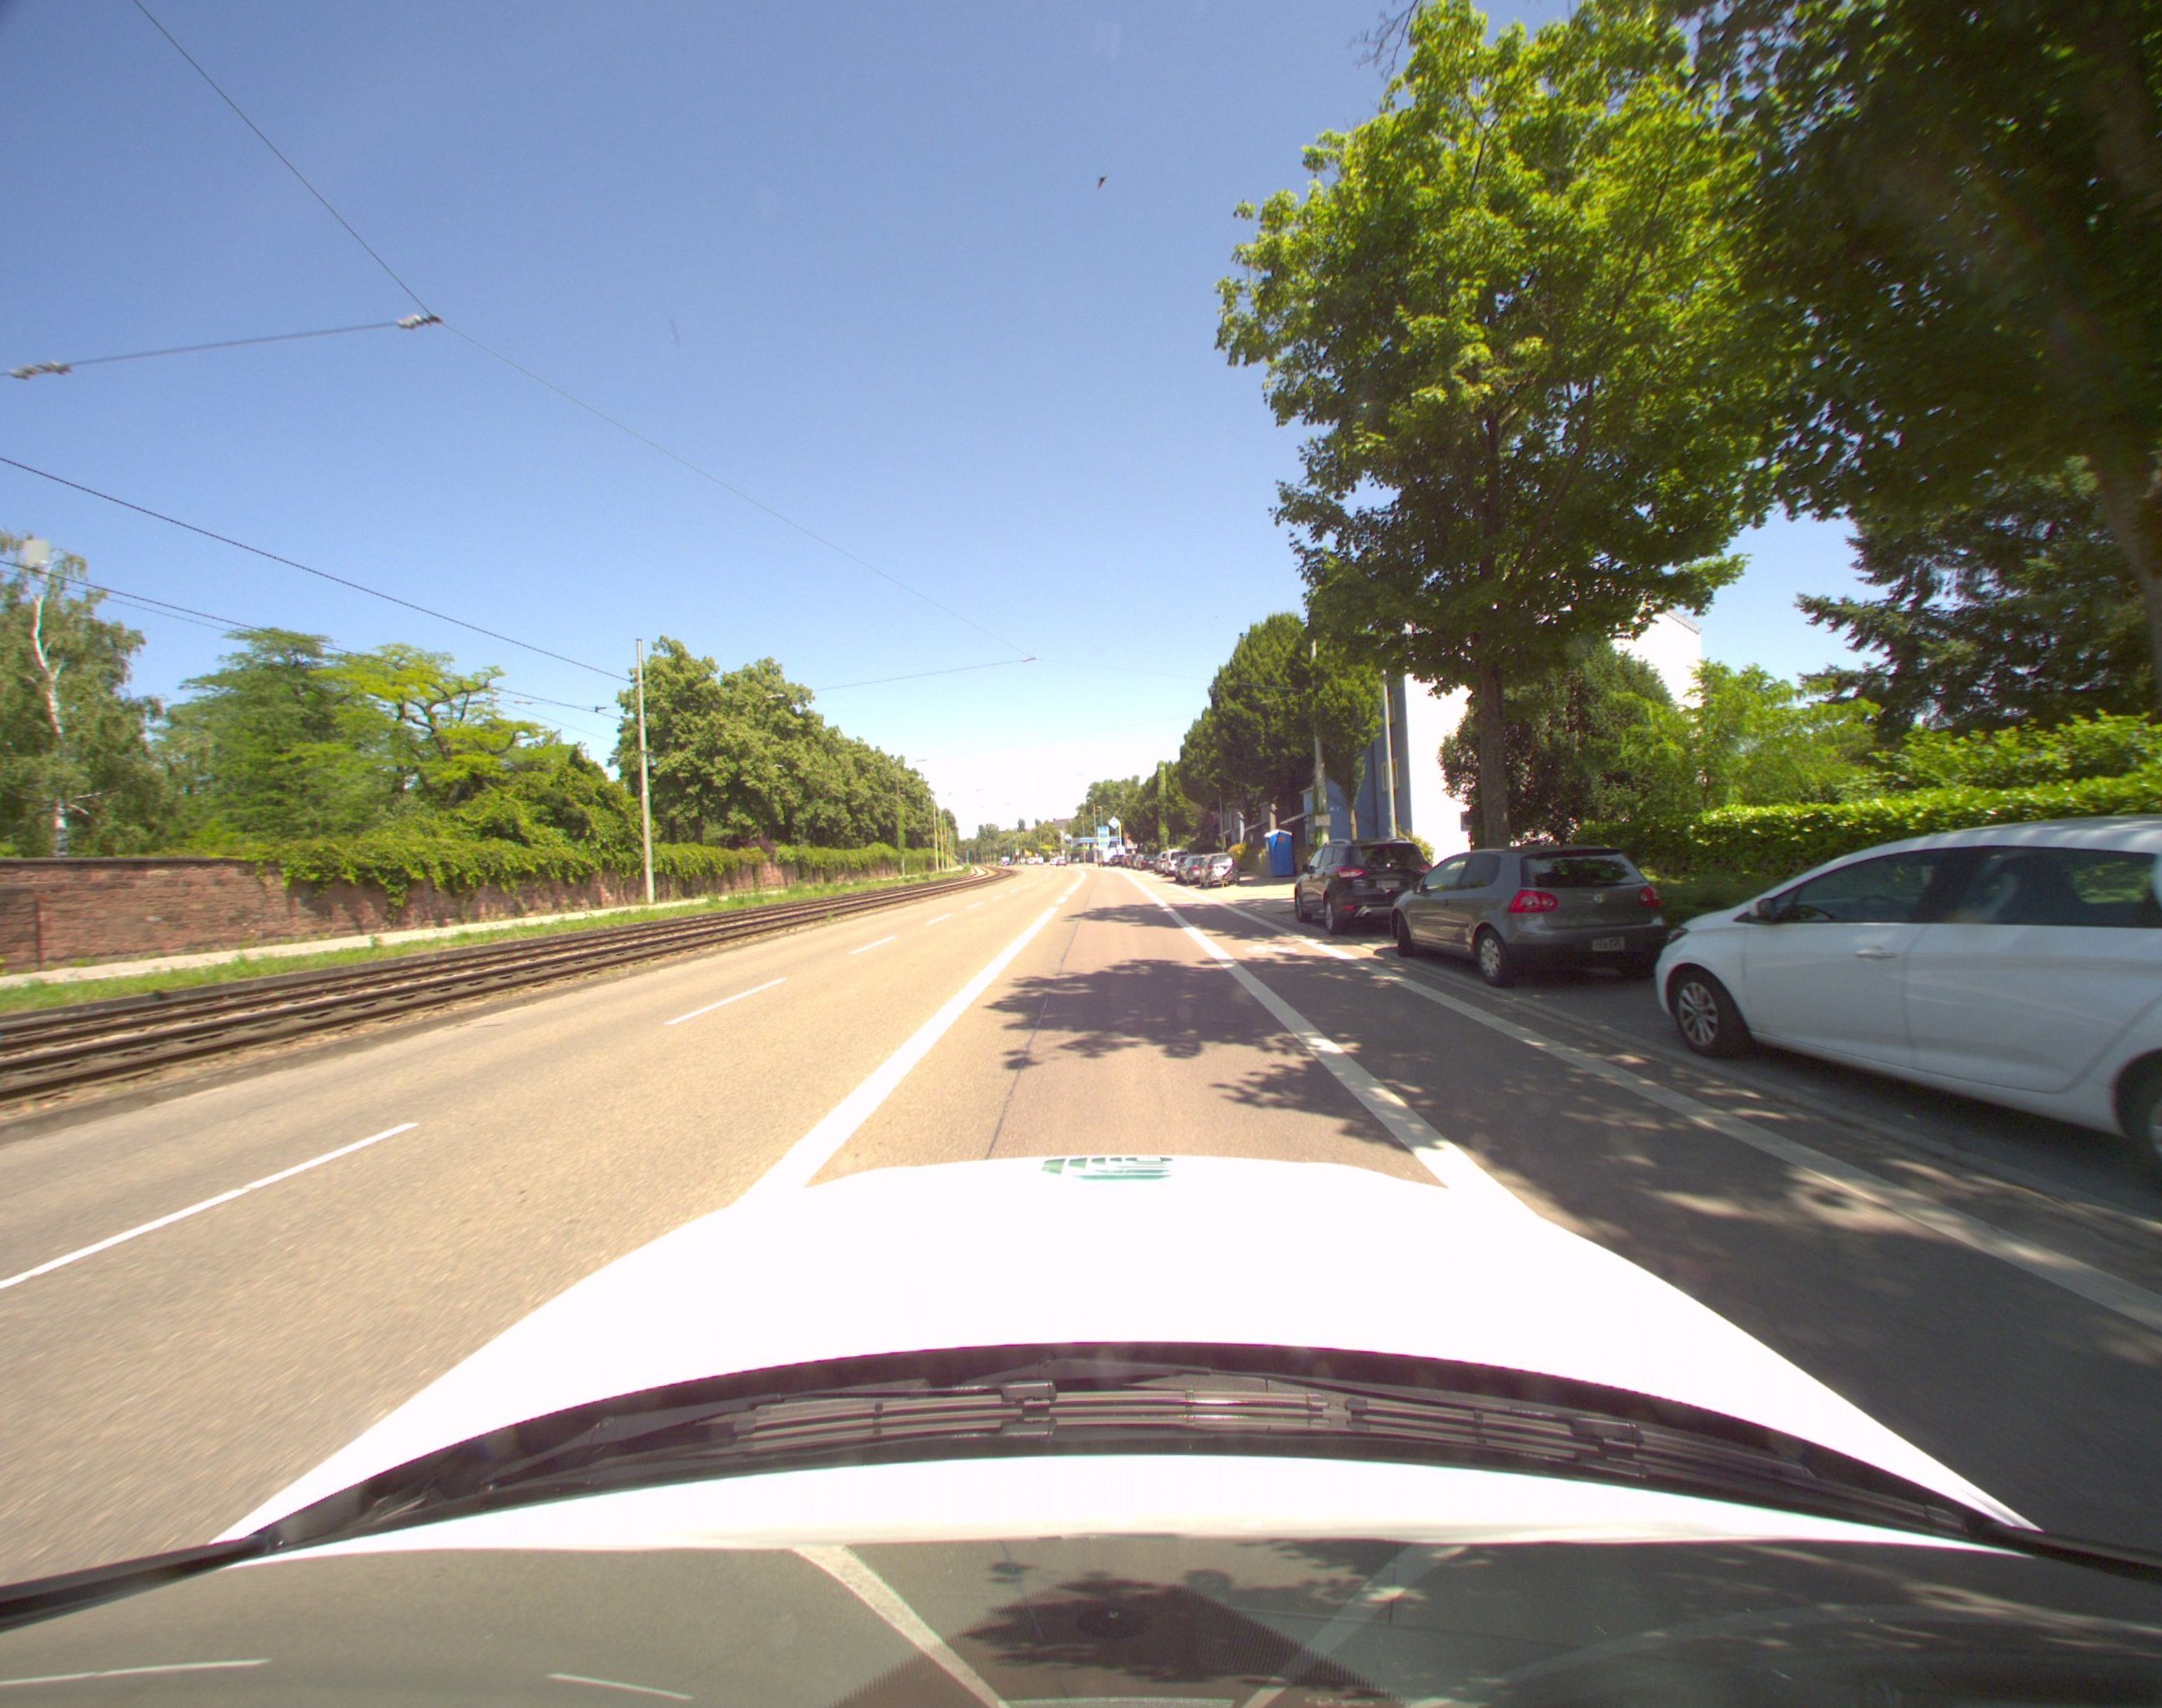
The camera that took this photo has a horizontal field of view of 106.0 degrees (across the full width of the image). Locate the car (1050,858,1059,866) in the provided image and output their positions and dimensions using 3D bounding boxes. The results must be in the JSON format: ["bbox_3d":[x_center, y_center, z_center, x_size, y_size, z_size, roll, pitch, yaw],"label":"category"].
[{"bbox_3d":[-6.064,1.835,188.108,1.753,1.630,4.315,-5,0,-6],"label":"car"}]

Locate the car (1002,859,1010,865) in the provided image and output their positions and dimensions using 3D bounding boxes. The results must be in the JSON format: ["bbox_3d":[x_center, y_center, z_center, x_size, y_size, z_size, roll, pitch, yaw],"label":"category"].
[{"bbox_3d":[-20.016,2.062,217.056,1.754,1.509,4.313,-5,0,-7],"label":"car"}]

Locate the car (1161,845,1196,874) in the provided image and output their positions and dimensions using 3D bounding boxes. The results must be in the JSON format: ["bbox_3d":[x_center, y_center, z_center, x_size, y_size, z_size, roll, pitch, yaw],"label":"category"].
[{"bbox_3d":[6.882,0.354,57.775,1.835,1.793,4.354,-5,0,0],"label":"car"}]

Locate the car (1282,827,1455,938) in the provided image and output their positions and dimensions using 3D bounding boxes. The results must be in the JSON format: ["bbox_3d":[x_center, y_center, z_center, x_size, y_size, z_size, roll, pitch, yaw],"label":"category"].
[{"bbox_3d":[5.361,0.453,15.876,1.833,1.706,4.630,-5,0,3],"label":"car"}]

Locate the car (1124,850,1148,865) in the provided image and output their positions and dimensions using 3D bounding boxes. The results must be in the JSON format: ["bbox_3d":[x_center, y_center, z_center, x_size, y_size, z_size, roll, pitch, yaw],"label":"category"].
[{"bbox_3d":[6.186,0.419,92.032,1.706,1.562,4.312,-5,0,-7],"label":"car"}]

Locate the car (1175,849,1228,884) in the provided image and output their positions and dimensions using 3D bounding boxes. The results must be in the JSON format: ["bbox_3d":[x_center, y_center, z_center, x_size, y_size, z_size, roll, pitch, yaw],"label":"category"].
[{"bbox_3d":[6.258,0.610,42.800,1.835,1.529,4.964,-5,0,-1],"label":"car"}]

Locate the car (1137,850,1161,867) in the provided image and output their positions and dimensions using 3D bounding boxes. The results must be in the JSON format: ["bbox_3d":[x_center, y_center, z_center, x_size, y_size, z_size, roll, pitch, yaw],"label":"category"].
[{"bbox_3d":[6.692,0.473,80.834,1.703,1.492,5.034,-5,0,-2],"label":"car"}]

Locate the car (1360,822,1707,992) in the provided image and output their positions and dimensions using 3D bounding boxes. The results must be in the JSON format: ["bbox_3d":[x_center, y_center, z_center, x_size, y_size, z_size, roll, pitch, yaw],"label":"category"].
[{"bbox_3d":[5.259,0.520,10.281,1.835,1.529,4.352,-5,0,0],"label":"car"}]

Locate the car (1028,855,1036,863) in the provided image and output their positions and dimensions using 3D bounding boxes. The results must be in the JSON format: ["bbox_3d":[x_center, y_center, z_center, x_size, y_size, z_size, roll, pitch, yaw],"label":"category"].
[{"bbox_3d":[-13.327,1.390,219.575,1.754,1.874,4.313,-5,0,-7],"label":"car"}]

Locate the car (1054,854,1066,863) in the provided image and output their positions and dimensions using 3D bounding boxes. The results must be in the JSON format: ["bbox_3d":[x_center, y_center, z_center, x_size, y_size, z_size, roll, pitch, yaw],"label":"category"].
[{"bbox_3d":[-4.084,0.874,155.735,1.754,1.630,4.313,-5,0,-7],"label":"car"}]

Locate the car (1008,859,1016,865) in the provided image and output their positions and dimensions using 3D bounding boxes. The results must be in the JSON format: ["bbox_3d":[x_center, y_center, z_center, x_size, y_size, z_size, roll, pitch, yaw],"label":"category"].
[{"bbox_3d":[-19.859,2.367,234.344,1.754,1.630,4.313,-5,0,-7],"label":"car"}]

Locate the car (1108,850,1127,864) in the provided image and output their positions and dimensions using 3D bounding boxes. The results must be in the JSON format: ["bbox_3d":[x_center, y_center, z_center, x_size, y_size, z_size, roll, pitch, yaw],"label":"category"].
[{"bbox_3d":[4.800,0.447,107.962,1.754,1.630,4.313,-5,0,-7],"label":"car"}]

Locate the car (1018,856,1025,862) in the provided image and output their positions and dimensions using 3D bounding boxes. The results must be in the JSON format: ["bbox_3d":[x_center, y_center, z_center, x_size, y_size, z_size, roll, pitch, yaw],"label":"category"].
[{"bbox_3d":[-16.350,1.391,223.857,1.753,1.630,4.315,-5,0,-6],"label":"car"}]

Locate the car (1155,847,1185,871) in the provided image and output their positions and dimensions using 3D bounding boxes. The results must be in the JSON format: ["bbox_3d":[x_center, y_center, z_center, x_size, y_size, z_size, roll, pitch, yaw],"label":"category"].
[{"bbox_3d":[6.942,0.358,63.962,1.833,1.694,4.781,-5,0,2],"label":"car"}]

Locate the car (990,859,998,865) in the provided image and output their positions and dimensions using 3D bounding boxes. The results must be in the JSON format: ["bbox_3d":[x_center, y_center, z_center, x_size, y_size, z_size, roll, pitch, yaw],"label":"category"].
[{"bbox_3d":[-25.551,2.401,238.251,1.757,1.630,4.305,-5,0,-12],"label":"car"}]

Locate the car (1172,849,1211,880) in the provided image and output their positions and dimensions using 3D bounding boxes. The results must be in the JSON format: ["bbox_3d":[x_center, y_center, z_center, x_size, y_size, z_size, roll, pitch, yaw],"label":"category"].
[{"bbox_3d":[6.433,0.573,47.836,1.833,1.529,4.220,-5,0,4],"label":"car"}]

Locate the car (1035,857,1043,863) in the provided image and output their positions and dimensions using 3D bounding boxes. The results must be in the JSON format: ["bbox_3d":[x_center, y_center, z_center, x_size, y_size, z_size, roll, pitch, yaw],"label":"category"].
[{"bbox_3d":[-11.726,1.750,227.850,1.754,1.630,4.313,-5,0,-7],"label":"car"}]

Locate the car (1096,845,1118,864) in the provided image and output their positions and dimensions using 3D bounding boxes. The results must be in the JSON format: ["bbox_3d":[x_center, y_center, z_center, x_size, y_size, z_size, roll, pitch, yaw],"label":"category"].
[{"bbox_3d":[3.748,0.132,118.108,2.000,2.456,6.092,-5,0,-8],"label":"car"}]

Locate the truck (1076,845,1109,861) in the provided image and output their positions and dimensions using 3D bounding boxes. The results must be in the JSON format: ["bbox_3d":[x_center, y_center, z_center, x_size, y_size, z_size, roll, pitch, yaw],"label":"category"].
[{"bbox_3d":[2.898,-0.218,202.216,7.946,3.602,2.661,-3,0,-2],"label":"truck"}]

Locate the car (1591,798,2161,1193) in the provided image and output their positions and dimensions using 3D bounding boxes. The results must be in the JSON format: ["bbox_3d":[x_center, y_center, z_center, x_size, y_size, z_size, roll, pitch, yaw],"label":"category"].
[{"bbox_3d":[5.226,0.530,4.668,1.835,1.529,4.204,-5,0,-1],"label":"car"}]

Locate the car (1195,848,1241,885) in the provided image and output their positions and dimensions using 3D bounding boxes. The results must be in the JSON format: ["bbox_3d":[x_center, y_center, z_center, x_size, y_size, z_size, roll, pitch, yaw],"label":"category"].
[{"bbox_3d":[6.311,0.529,37.788,1.513,1.529,3.818,-5,0,2],"label":"car"}]

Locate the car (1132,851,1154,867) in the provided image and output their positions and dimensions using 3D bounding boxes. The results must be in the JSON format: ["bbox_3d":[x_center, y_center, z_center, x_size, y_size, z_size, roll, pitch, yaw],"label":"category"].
[{"bbox_3d":[6.578,0.502,86.826,1.703,1.492,4.726,-5,0,-3],"label":"car"}]

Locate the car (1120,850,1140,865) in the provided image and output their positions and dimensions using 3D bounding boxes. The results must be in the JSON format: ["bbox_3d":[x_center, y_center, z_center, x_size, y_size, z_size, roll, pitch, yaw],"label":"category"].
[{"bbox_3d":[5.859,0.435,97.958,1.705,1.562,4.315,-5,0,-6],"label":"car"}]

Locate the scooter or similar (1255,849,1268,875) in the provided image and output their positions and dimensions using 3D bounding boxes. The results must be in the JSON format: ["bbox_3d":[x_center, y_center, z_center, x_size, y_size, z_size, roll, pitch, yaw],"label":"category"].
[{"bbox_3d":[9.036,0.391,40.870,0.382,1.280,1.339,-1,0,2],"label":"scooter or similar"}]

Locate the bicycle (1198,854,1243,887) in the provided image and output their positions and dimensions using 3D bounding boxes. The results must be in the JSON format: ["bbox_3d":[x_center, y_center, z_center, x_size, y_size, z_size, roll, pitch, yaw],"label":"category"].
[{"bbox_3d":[6.104,0.704,35.752,1.765,1.228,0.685,-7,-1,6],"label":"bicycle"}]
